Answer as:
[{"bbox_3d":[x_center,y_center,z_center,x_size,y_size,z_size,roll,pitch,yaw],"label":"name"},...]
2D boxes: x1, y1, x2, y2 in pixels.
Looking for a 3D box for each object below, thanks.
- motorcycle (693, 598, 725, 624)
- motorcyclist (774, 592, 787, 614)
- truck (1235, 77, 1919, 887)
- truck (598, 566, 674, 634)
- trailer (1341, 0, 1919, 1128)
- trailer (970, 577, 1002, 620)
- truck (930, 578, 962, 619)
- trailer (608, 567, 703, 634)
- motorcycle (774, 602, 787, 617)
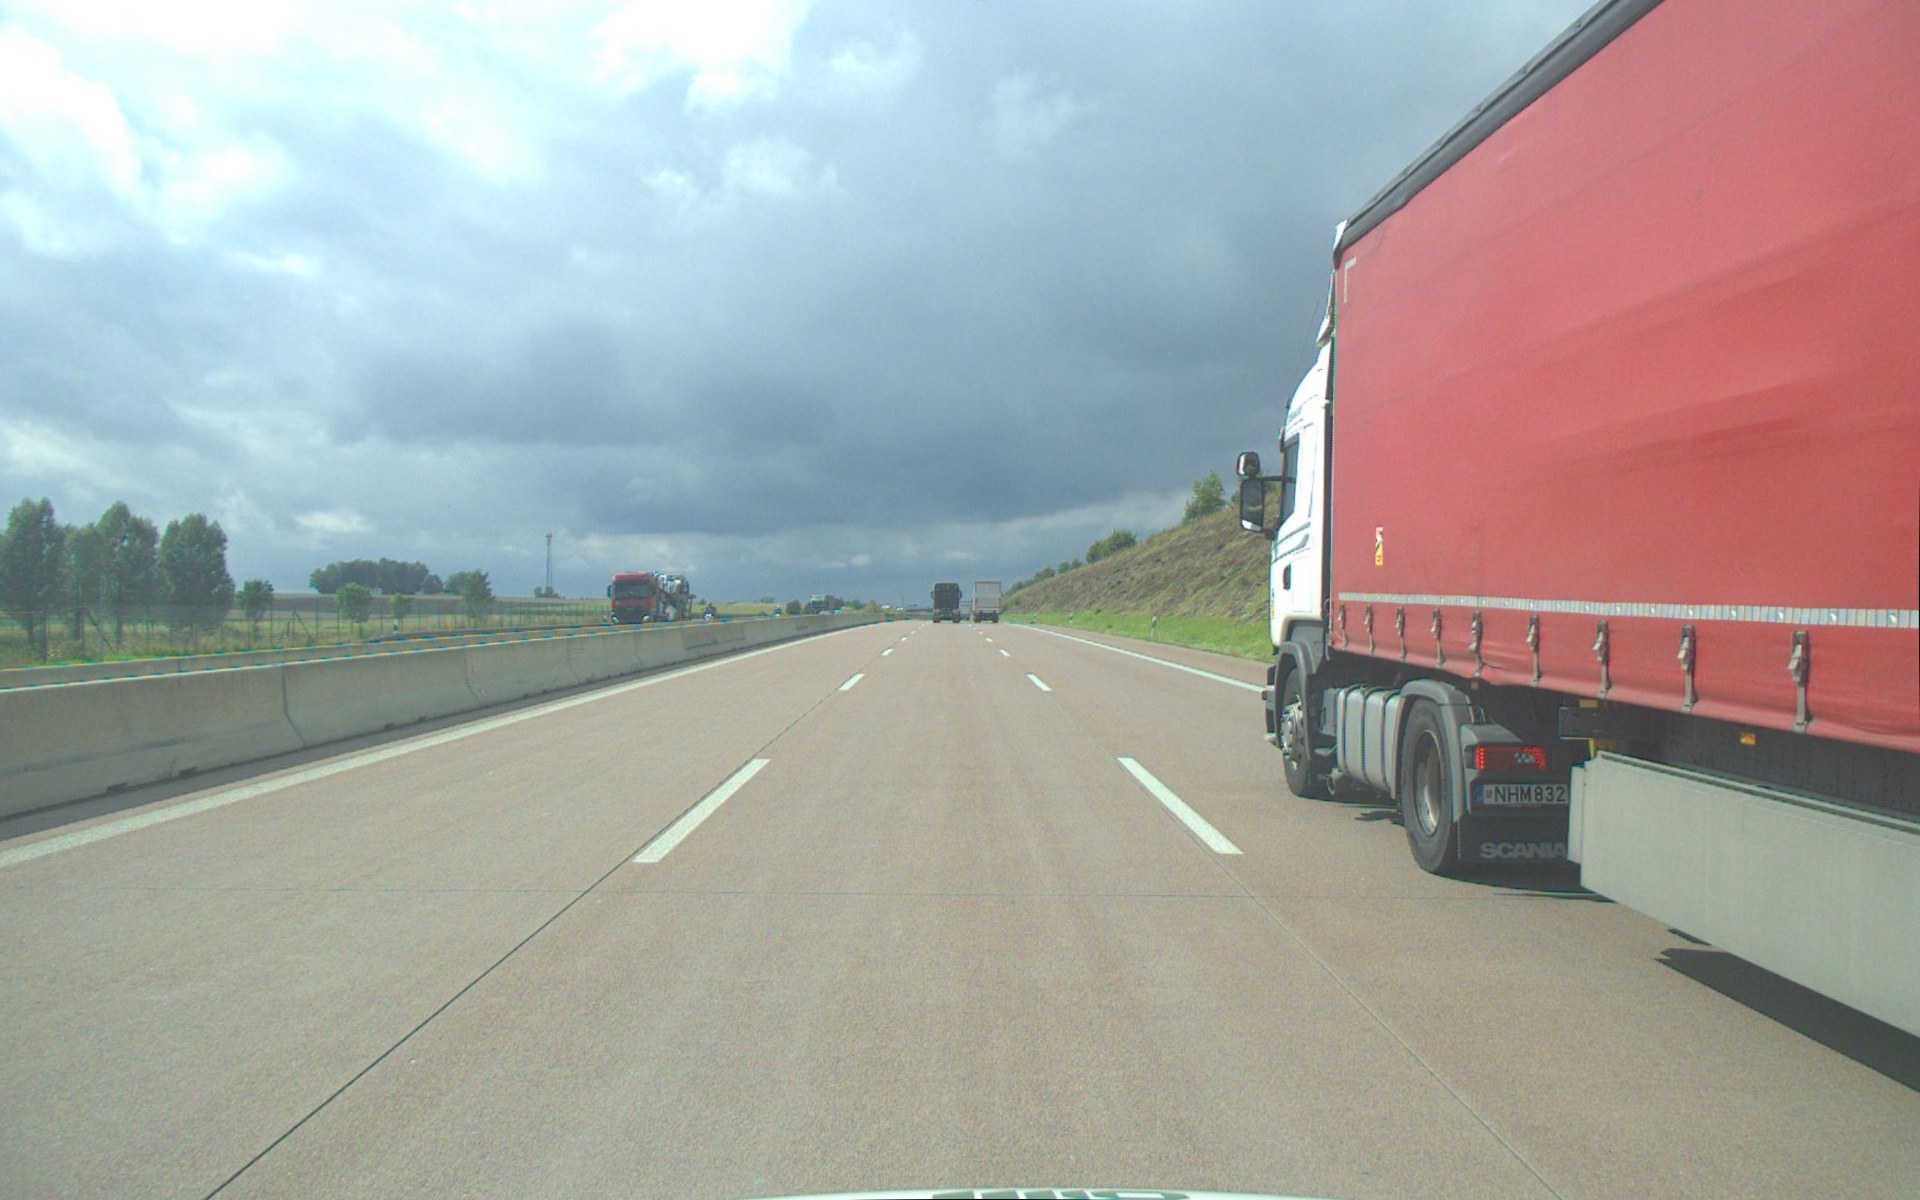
[{"bbox_3d":[-15.769,0.702,104.056,1.522,1.569,2.841,1,0,0],"label":"motorcycle"},{"bbox_3d":[-16.147,0.267,148.853,0.988,1.894,0.744,1,-1,1],"label":"motorcyclist"},{"bbox_3d":[3.880,-0.600,11.866,2.620,4.178,6.614,0,0,-1],"label":"truck"},{"bbox_3d":[-20.166,0.028,103.392,3.128,4.048,7.729,1,0,0],"label":"truck"},{"bbox_3d":[3.989,-0.606,4.852,2.618,4.165,12.786,0,0,-1],"label":"trailer"},{"bbox_3d":[2.556,-0.069,164.285,2.692,4.082,8.666,0,-1,-2],"label":"trailer"},{"bbox_3d":[-1.353,-0.078,153.588,2.790,3.612,8.315,0,-1,-2],"label":"truck"},{"bbox_3d":[-20.102,0.053,110.588,3.128,4.048,16.325,1,0,0],"label":"trailer"},{"bbox_3d":[-16.155,0.862,148.838,0.907,1.326,2.342,1,0,0],"label":"motorcycle"}]
